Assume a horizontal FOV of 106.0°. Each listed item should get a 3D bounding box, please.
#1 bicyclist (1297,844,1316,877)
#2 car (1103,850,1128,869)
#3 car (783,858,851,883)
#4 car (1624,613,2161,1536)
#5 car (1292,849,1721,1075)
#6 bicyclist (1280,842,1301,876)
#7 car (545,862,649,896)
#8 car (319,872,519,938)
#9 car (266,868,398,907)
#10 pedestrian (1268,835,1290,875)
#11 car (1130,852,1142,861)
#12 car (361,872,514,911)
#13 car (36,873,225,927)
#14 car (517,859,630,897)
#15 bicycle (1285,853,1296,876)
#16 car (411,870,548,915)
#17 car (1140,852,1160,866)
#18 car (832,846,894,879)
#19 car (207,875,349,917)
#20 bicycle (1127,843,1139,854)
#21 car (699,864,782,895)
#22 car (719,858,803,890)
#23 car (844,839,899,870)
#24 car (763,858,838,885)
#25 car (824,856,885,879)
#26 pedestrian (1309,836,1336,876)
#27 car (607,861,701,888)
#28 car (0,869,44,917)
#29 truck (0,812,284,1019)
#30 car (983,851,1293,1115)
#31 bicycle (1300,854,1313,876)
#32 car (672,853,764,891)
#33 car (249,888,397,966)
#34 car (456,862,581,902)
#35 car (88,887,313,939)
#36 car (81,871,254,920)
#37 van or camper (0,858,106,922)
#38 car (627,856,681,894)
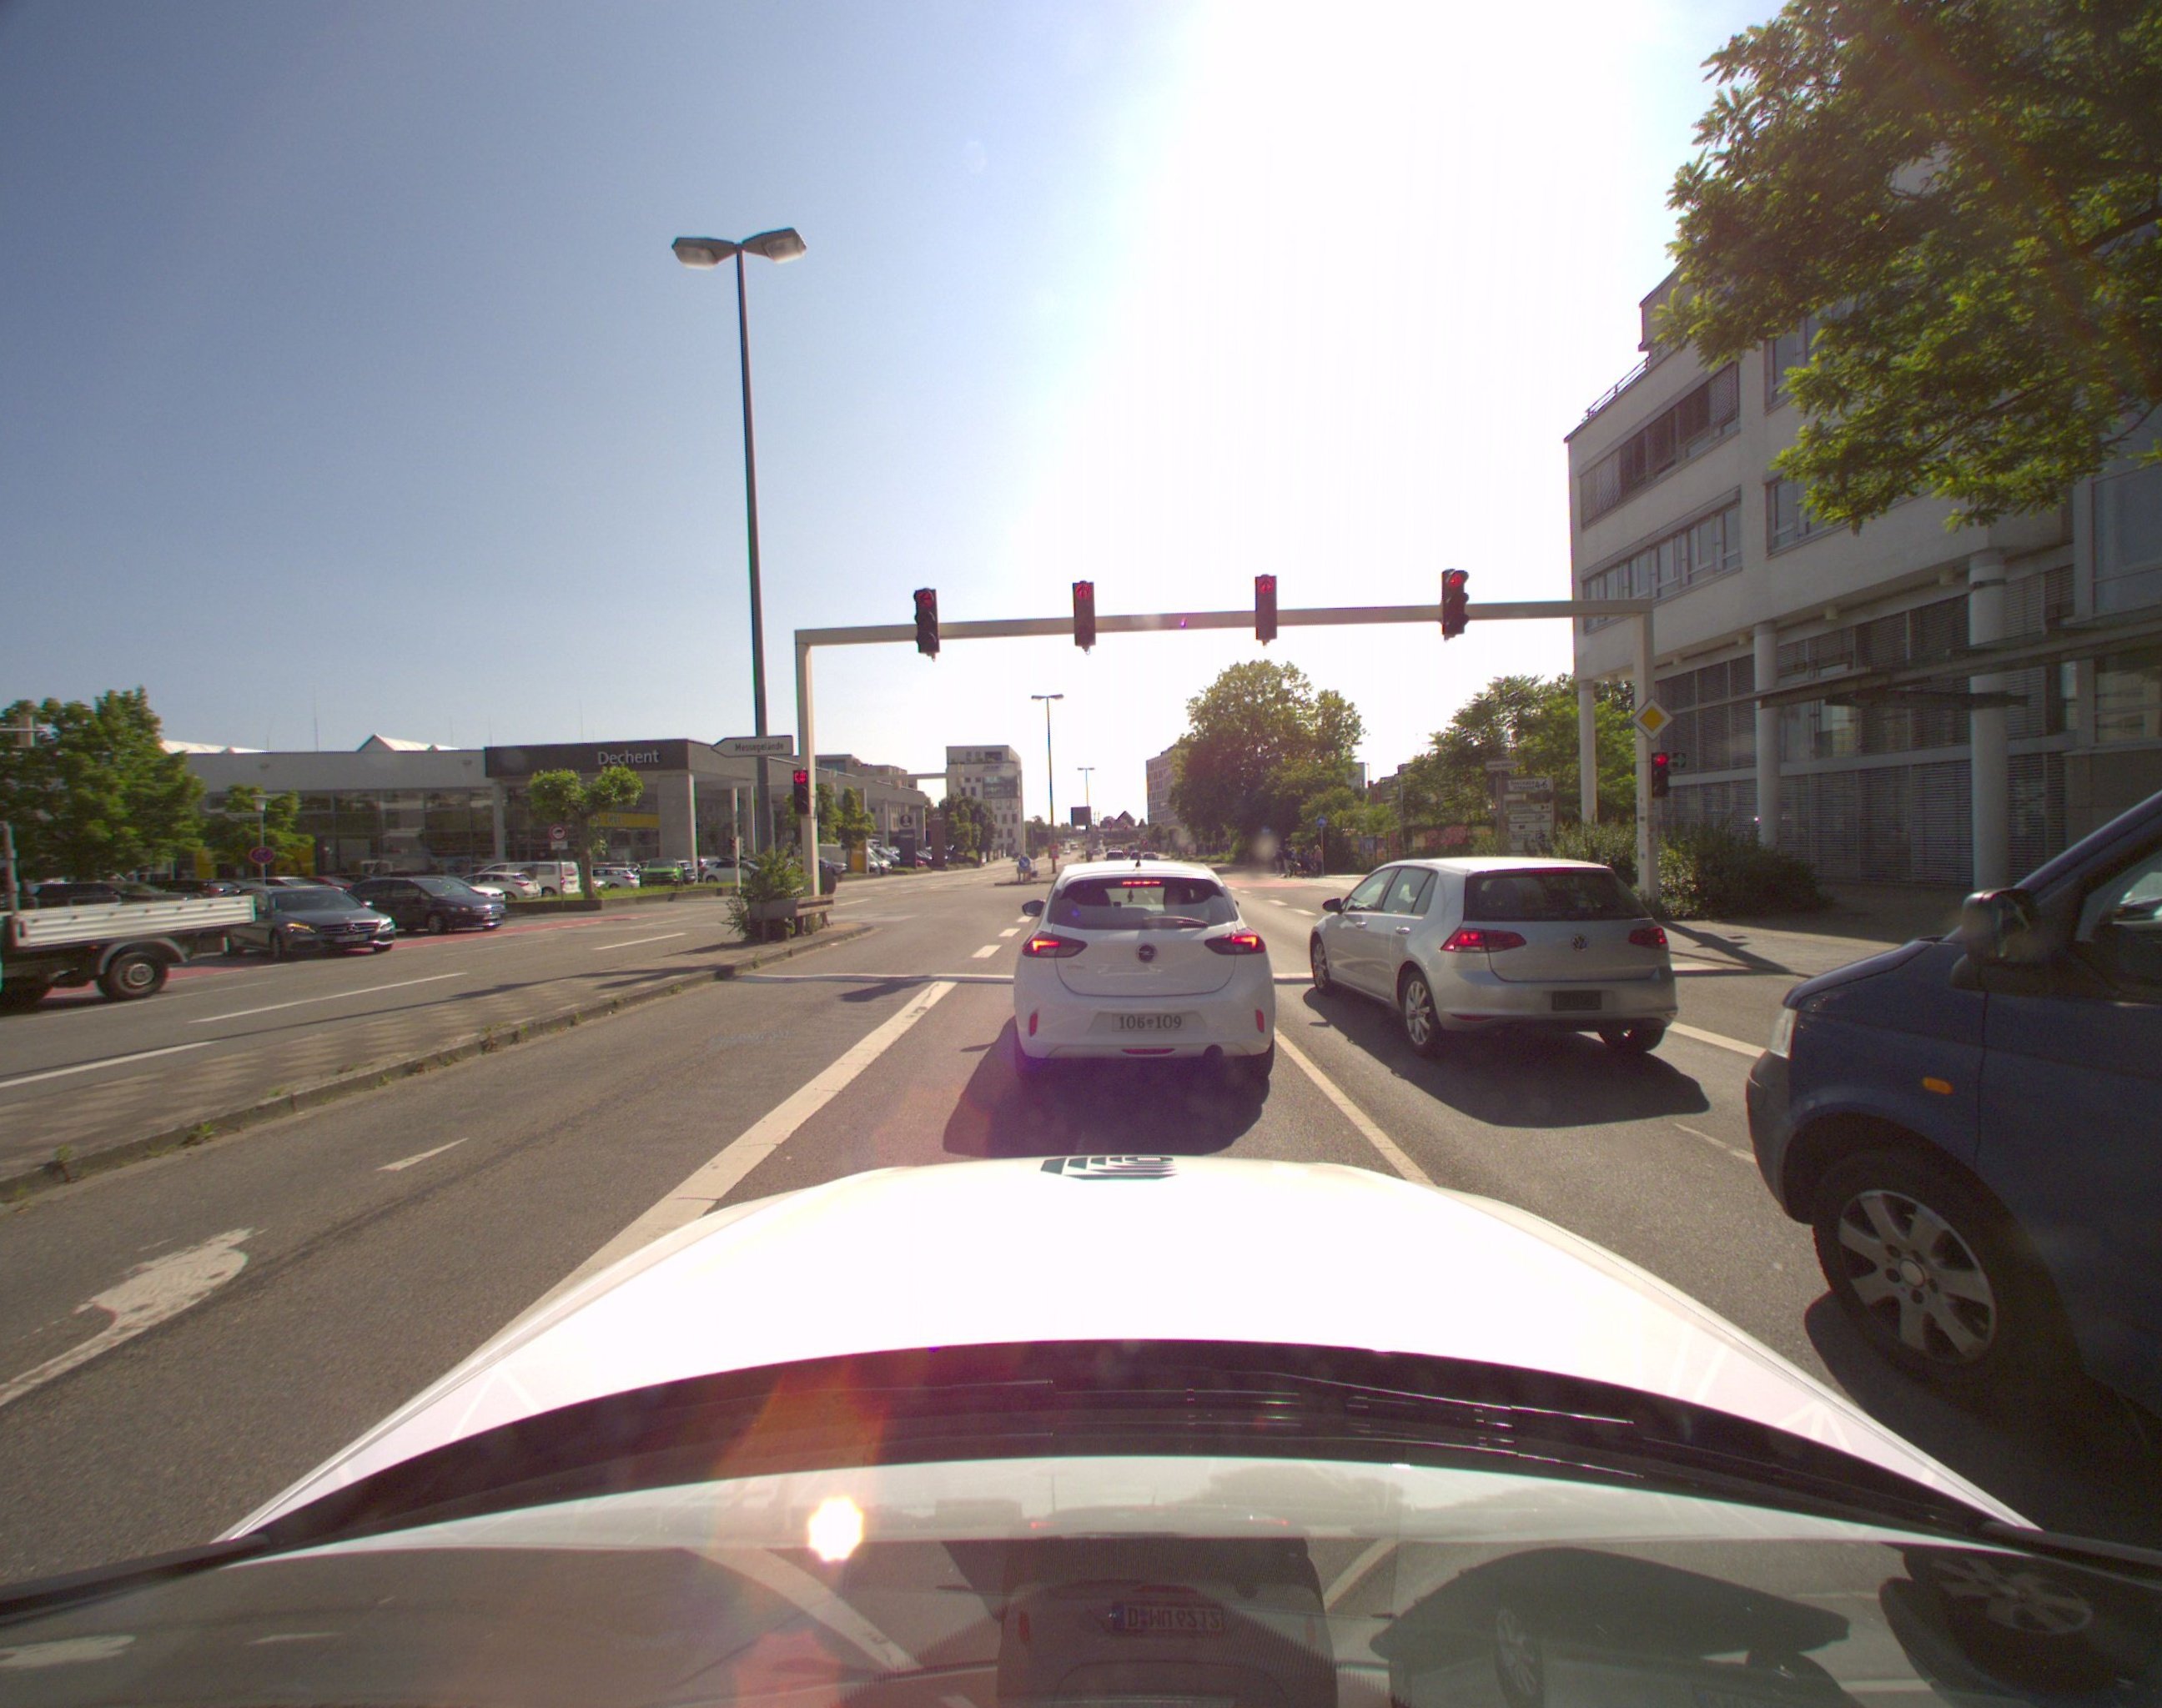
[{"bbox_3d":[11.645,0.326,42.084,0.687,1.643,0.775,-2,0,-7],"label":"bicyclist"},{"bbox_3d":[2.755,0.450,65.653,1.800,1.386,3.999,-2,-1,0],"label":"car"},{"bbox_3d":[-19.606,1.228,60.599,4.344,1.696,1.999,-2,0,-1],"label":"car"},{"bbox_3d":[3.234,0.440,0.959,1.986,1.948,4.893,-2,0,2],"label":"car"},{"bbox_3d":[3.310,0.720,7.343,1.801,1.429,4.000,-2,0,1],"label":"car"},{"bbox_3d":[11.248,0.274,43.816,0.875,1.772,0.864,-2,0,2],"label":"bicyclist"},{"bbox_3d":[-26.112,1.329,44.052,4.352,1.591,1.996,-2,0,-7],"label":"car"},{"bbox_3d":[-18.430,1.390,22.795,4.102,1.617,1.894,-2,0,4],"label":"car"},{"bbox_3d":[-36.577,1.607,39.890,4.352,1.696,1.995,-2,0,-7],"label":"car"},{"bbox_3d":[11.418,0.035,46.988,1.023,2.238,1.039,-2,0,1],"label":"pedestrian"},{"bbox_3d":[8.776,0.356,129.413,1.799,1.386,4.001,0,-1,2],"label":"car"},{"bbox_3d":[-25.446,1.454,32.332,4.348,1.299,1.997,-2,0,-4],"label":"car"},{"bbox_3d":[-34.844,1.668,29.970,4.348,1.696,1.997,-2,0,-4],"label":"car"},{"bbox_3d":[-25.702,1.191,41.397,4.353,1.696,1.995,-2,0,-7],"label":"car"},{"bbox_3d":[11.262,0.564,43.779,0.371,1.216,1.154,0,0,2],"label":"bicycle"},{"bbox_3d":[-26.110,1.632,35.488,4.348,1.696,1.997,-2,0,-4],"label":"car"},{"bbox_3d":[6.965,0.493,82.781,1.799,1.386,4.001,0,-1,2],"label":"car"},{"bbox_3d":[-18.406,0.715,68.813,4.469,2.684,2.134,-2,0,10],"label":"car"},{"bbox_3d":[-36.848,1.905,37.472,4.348,1.696,1.997,-2,0,-4],"label":"car"},{"bbox_3d":[9.846,-1.038,155.072,1.986,2.157,4.001,-2,0,2],"label":"bicycle"},{"bbox_3d":[-19.734,1.477,47.362,3.981,1.599,1.996,-2,0,-6],"label":"car"},{"bbox_3d":[-19.633,1.191,50.042,4.284,1.765,1.999,-2,0,-1],"label":"car"},{"bbox_3d":[-19.026,0.031,74.146,4.334,2.601,2.004,-2,0,6],"label":"car"},{"bbox_3d":[-18.928,1.166,55.169,4.343,1.696,1.999,-1,0,-1],"label":"car"},{"bbox_3d":[-18.442,1.121,66.363,4.330,1.696,2.006,-2,0,10],"label":"car"},{"bbox_3d":[12.376,0.113,41.705,1.023,2.013,1.039,-2,0,1],"label":"pedestrian"},{"bbox_3d":[-24.655,1.202,47.145,4.352,1.268,1.995,-3,-2,-7],"label":"car"},{"bbox_3d":[-40.576,1.452,28.811,4.371,1.696,1.987,-2,0,-20],"label":"car"},{"bbox_3d":[-14.423,0.821,10.077,2.346,2.545,6.445,-4,0,4],"label":"truck"},{"bbox_3d":[0.395,0.754,6.779,1.773,1.494,4.001,-2,0,2],"label":"car"},{"bbox_3d":[11.659,0.555,42.091,0.372,1.147,1.034,0,-1,0],"label":"bicycle"},{"bbox_3d":[-19.213,0.939,43.238,3.859,1.837,1.999,-2,0,-1],"label":"car"},{"bbox_3d":[-16.486,1.486,17.662,3.949,1.360,1.917,0,-1,41],"label":"car"},{"bbox_3d":[-26.561,1.291,38.609,4.353,1.696,1.995,-2,0,-7],"label":"car"},{"bbox_3d":[-25.724,1.696,23.977,3.995,1.331,1.989,0,-1,-16],"label":"car"},{"bbox_3d":[-36.296,1.624,32.459,4.348,1.696,1.997,-2,0,-4],"label":"car"},{"bbox_3d":[-41.911,1.418,31.819,4.711,2.400,1.995,-2,0,-8],"label":"van or camper"},{"bbox_3d":[-21.210,1.068,40.419,1.915,1.733,3.258,-2,-1,-35],"label":"car"}]
